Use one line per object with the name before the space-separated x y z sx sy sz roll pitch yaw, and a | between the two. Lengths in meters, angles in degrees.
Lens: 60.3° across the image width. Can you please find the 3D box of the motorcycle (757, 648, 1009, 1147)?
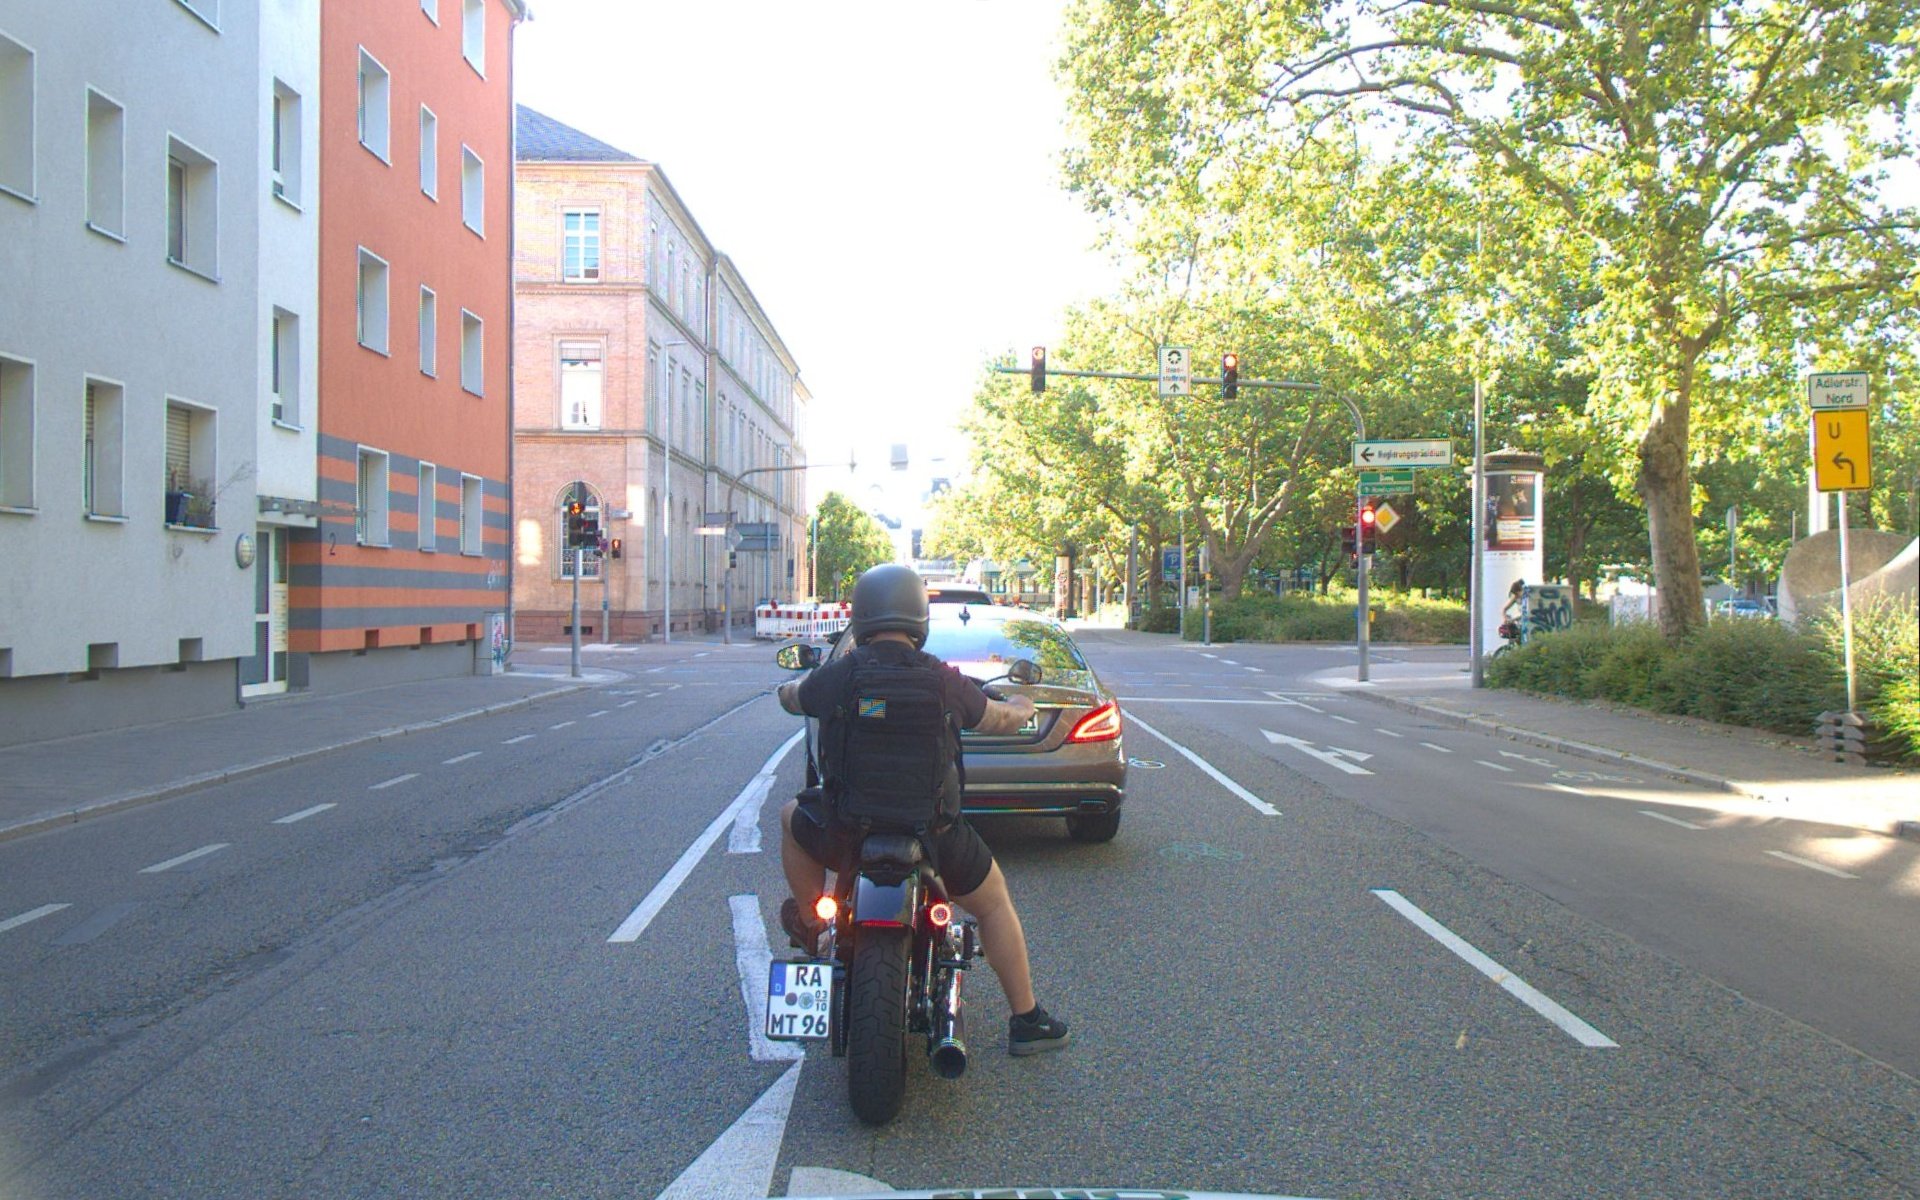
motorcycle | -0.218 0.818 5.408 0.646 1.261 2.057 1 0 -1

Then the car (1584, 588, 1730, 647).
car | 21.993 0.540 52.285 3.907 1.803 1.737 0 0 -3

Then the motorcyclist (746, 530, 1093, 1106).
motorcyclist | -0.123 0.630 5.318 0.970 1.639 1.120 1 0 -1

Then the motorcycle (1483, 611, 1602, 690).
motorcycle | 9.777 0.838 27.815 1.743 1.265 0.723 1 0 4

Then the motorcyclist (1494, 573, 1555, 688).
motorcyclist | 9.485 0.506 27.826 0.805 1.896 0.672 1 -1 4

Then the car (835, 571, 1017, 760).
car | -0.330 0.601 16.961 1.618 1.681 3.999 1 0 -1

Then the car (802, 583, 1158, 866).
car | -0.085 0.685 11.118 1.790 1.512 4.326 1 0 -7
